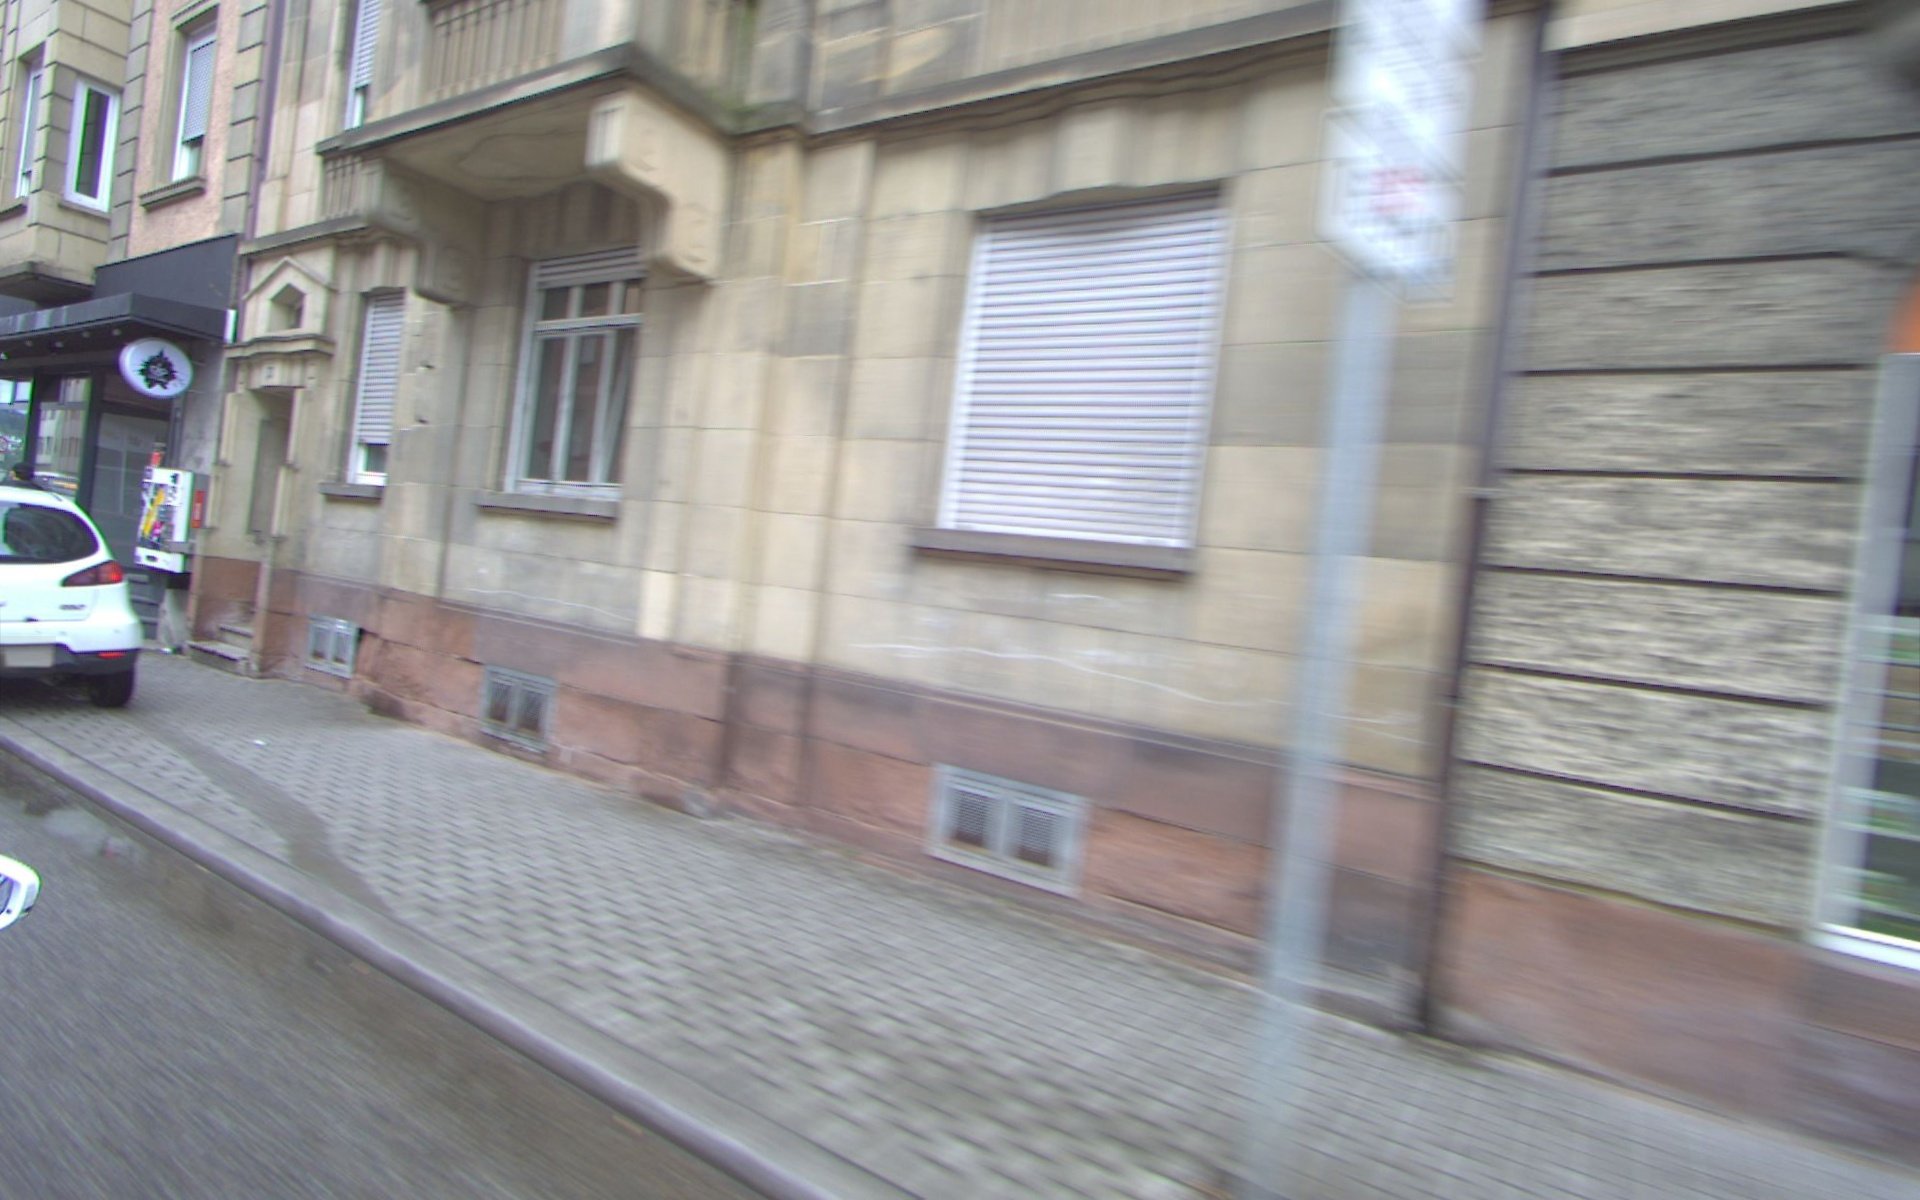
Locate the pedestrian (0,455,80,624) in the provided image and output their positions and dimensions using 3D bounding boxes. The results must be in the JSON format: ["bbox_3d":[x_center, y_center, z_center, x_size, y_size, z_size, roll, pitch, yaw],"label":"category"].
[{"bbox_3d":[-10.621,-0.678,11.335,0.782,1.801,0.745,6,1,31],"label":"pedestrian"}]

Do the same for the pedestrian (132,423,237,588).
[{"bbox_3d":[-9.574,-1.156,12.424,0.638,1.917,0.704,6,1,31],"label":"pedestrian"}]

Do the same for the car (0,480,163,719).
[{"bbox_3d":[-7.832,-0.180,7.640,4.380,1.513,1.647,6,0,37],"label":"car"}]
